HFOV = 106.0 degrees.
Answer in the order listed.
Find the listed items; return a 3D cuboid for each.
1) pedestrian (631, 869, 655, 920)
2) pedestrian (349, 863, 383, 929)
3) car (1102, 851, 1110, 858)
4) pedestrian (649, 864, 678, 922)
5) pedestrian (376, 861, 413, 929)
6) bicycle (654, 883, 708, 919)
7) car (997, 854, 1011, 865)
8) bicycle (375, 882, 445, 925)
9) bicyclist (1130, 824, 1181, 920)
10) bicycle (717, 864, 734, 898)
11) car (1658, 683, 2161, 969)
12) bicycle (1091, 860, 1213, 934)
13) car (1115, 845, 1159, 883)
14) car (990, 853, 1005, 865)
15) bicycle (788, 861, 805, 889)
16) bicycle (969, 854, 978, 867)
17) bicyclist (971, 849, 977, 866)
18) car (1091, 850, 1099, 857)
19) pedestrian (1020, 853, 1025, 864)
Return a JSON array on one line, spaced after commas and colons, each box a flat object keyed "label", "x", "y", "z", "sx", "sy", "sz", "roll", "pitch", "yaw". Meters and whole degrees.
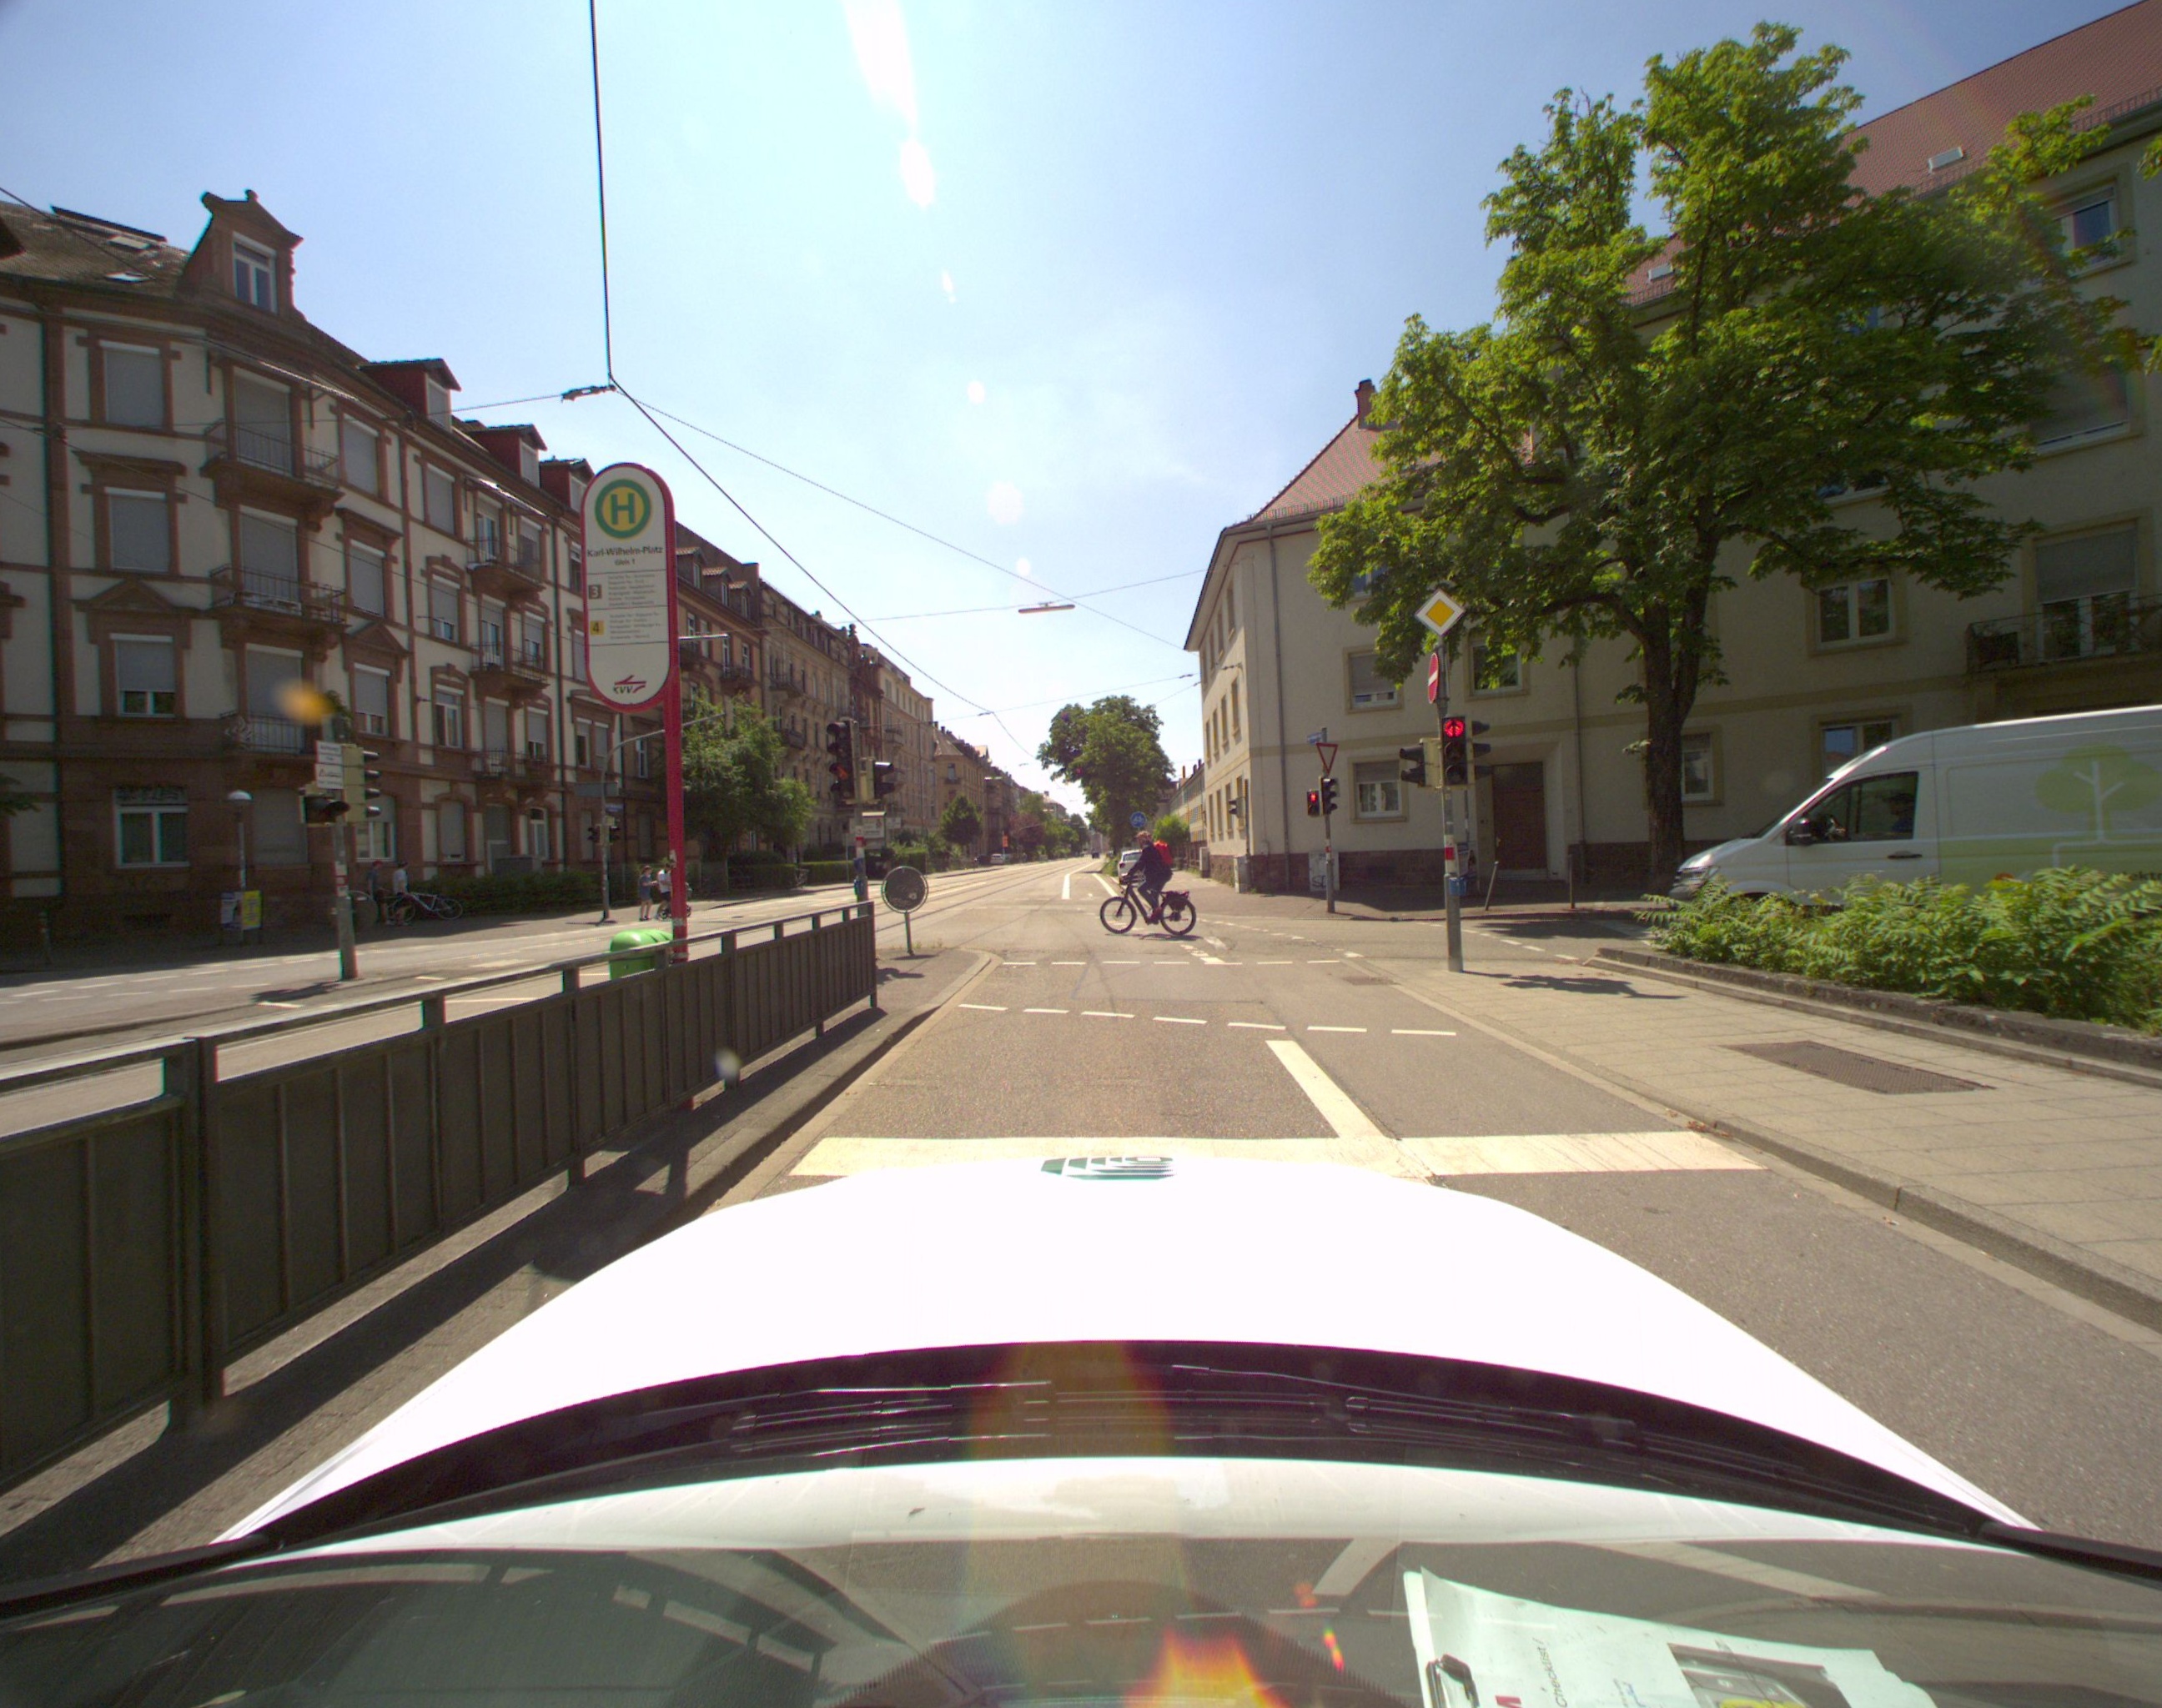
[{"label": "pedestrian", "x": -13.165, "y": 1.212, "z": 24.475, "sx": 0.510, "sy": 1.516, "sz": 0.464, "roll": -1, "pitch": -1, "yaw": -40}, {"label": "pedestrian", "x": -19.612, "y": 1.128, "z": 22.340, "sx": 0.508, "sy": 1.768, "sz": 0.525, "roll": -1, "pitch": -1, "yaw": -20}, {"label": "car", "x": 5.862, "y": 0.017, "z": 189.451, "sx": 1.741, "sy": 1.472, "sz": 3.939, "roll": -5, "pitch": 0, "yaw": 1}, {"label": "pedestrian", "x": -12.083, "y": 1.117, "z": 23.569, "sx": 0.657, "sy": 1.615, "sz": 0.464, "roll": -1, "pitch": 2, "yaw": -40}, {"label": "pedestrian", "x": -18.940, "y": 1.127, "z": 22.487, "sx": 0.565, "sy": 1.825, "sz": 0.631, "roll": -1, "pitch": -1, "yaw": -20}, {"label": "bicycle", "x": -12.081, "y": 1.400, "z": 24.600, "sx": 1.410, "sy": 1.013, "sz": 0.384, "roll": -1, "pitch": -1, "yaw": -39}, {"label": "car", "x": -11.785, "y": 0.810, "z": 124.358, "sx": 1.623, "sy": 1.472, "sz": 3.563, "roll": -5, "pitch": 0, "yaw": 0}, {"label": "bicycle", "x": -19.656, "y": 1.428, "z": 23.887, "sx": 1.522, "sy": 1.169, "sz": 0.362, "roll": -1, "pitch": 1, "yaw": -25}, {"label": "bicyclist", "x": 1.322, "y": 0.316, "z": 14.411, "sx": 0.687, "sy": 1.646, "sz": 0.584, "roll": -2, "pitch": -1, "yaw": 27}, {"label": "bicycle", "x": -15.375, "y": 1.135, "z": 35.212, "sx": 0.617, "sy": 1.395, "sz": 2.289, "roll": -1, "pitch": 0, "yaw": -24}, {"label": "car", "x": 9.946, "y": -0.261, "z": 8.735, "sx": 2.011, "sy": 2.590, "sz": 5.779, "roll": -2, "pitch": 0, "yaw": -43}, {"label": "bicycle", "x": 1.241, "y": 0.754, "z": 14.437, "sx": 2.061, "sy": 1.236, "sz": 0.584, "roll": -2, "pitch": -1, "yaw": 27}, {"label": "car", "x": 2.517, "y": 0.444, "z": 37.304, "sx": 1.741, "sy": 1.472, "sz": 3.939, "roll": -5, "pitch": 0, "yaw": 1}, {"label": "car", "x": -11.888, "y": 0.739, "z": 116.149, "sx": 1.679, "sy": 1.472, "sz": 3.937, "roll": -5, "pitch": 0, "yaw": 0}, {"label": "bicycle", "x": -14.436, "y": 1.058, "z": 41.261, "sx": 0.594, "sy": 1.356, "sz": 2.420, "roll": -1, "pitch": 0, "yaw": -24}, {"label": "bicycle", "x": -11.629, "y": 0.743, "z": 88.420, "sx": 0.575, "sy": 1.388, "sz": 2.502, "roll": -2, "pitch": 0, "yaw": 2}, {"label": "bicyclist", "x": -11.620, "y": 0.401, "z": 88.351, "sx": 0.540, "sy": 1.763, "sz": 0.498, "roll": -1, "pitch": -1, "yaw": 1}, {"label": "car", "x": 2.998, "y": -0.078, "z": 174.423, "sx": 1.519, "sy": 1.444, "sz": 3.367, "roll": -4, "pitch": 0, "yaw": 2}, {"label": "pedestrian", "x": -9.093, "y": 0.743, "z": 126.617, "sx": 0.675, "sy": 1.727, "sz": 0.678, "roll": -2, "pitch": -1, "yaw": 1}]
